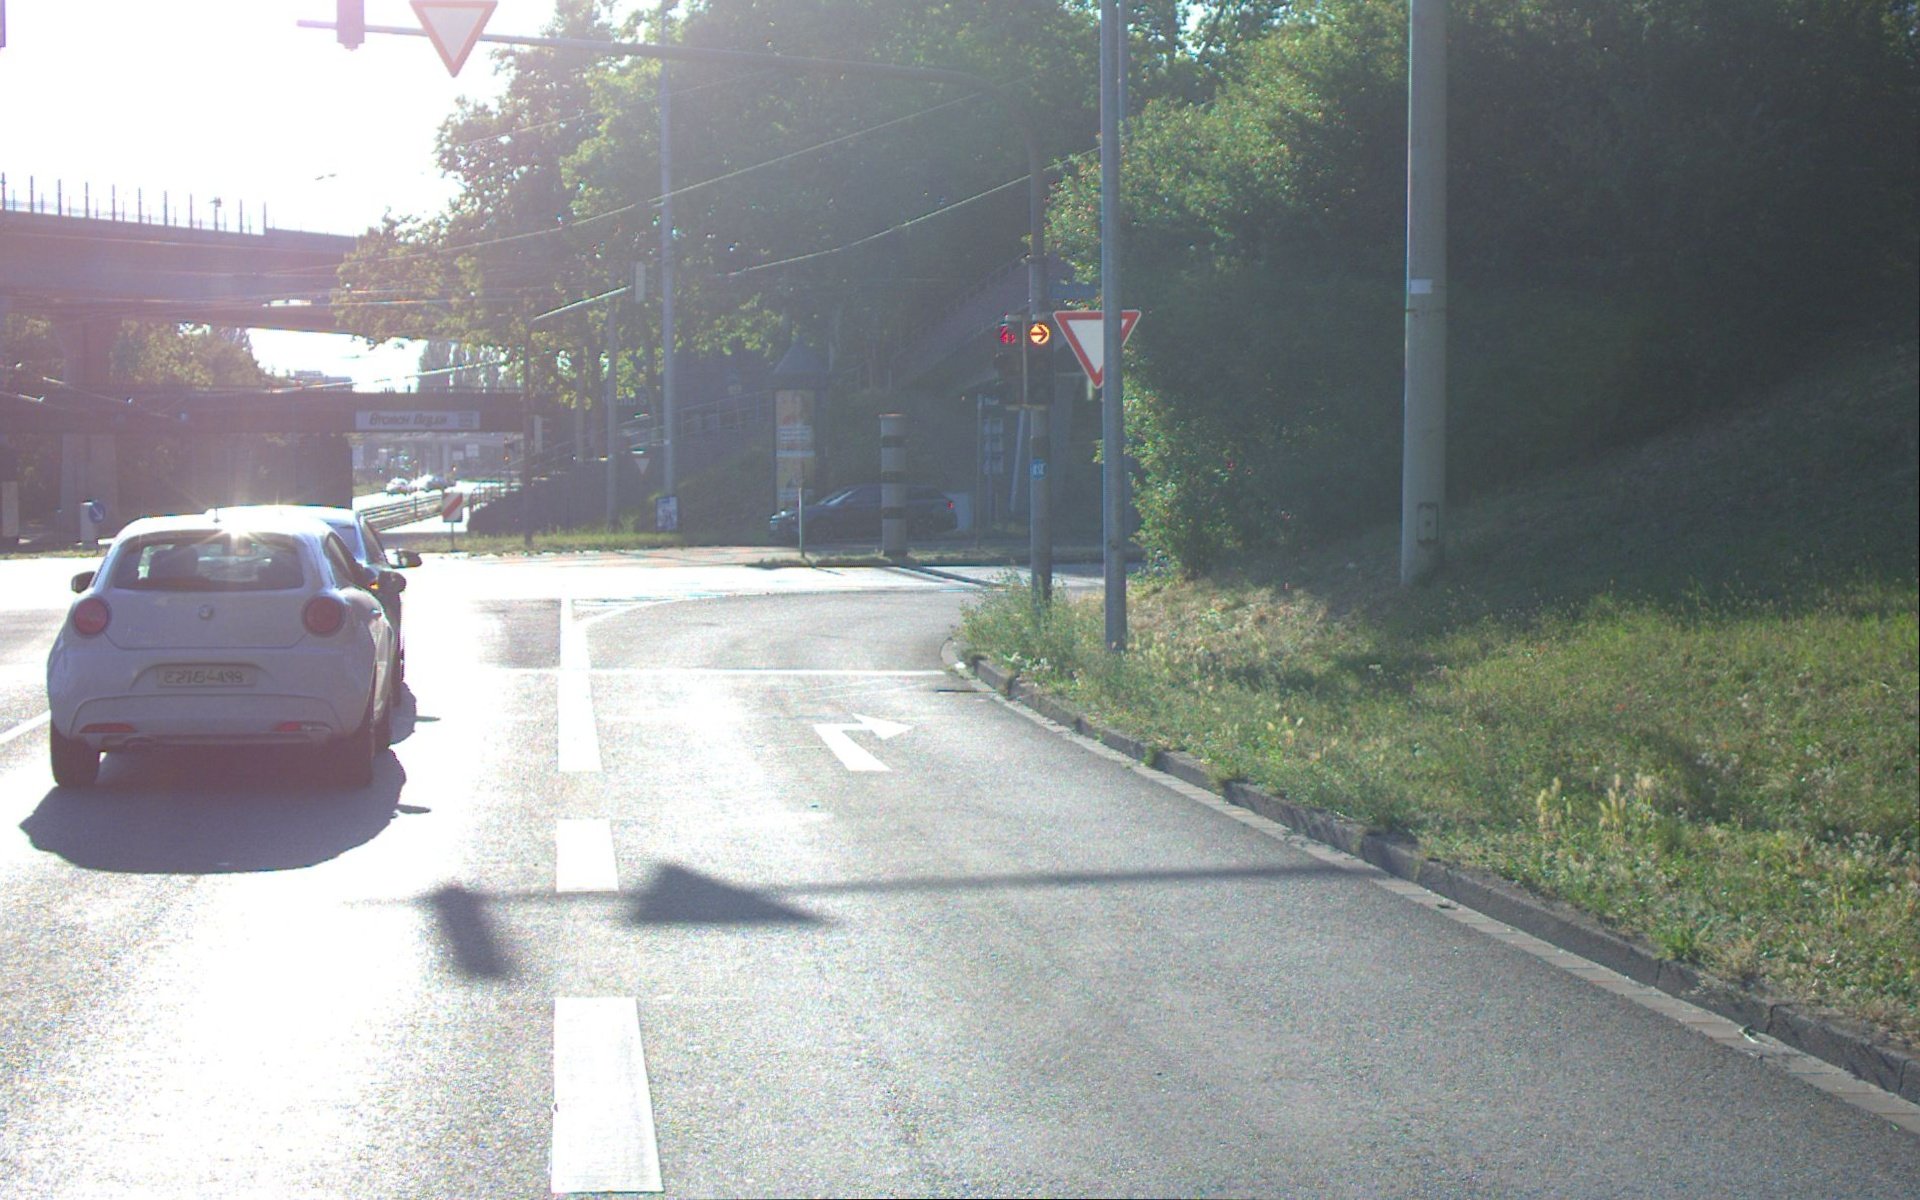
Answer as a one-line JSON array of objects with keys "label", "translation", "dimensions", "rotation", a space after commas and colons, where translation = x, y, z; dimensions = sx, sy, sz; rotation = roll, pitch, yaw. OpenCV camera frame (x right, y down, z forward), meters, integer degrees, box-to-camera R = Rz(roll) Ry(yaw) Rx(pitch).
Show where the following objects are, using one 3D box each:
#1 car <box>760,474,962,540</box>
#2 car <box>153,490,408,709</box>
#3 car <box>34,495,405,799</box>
[{"label": "car", "translation": [-2.396, -2.245, 83.027], "dimensions": [4.575, 1.569, 1.694], "rotation": [-1, 2, -23]}, {"label": "car", "translation": [-5.059, -0.073, 26.005], "dimensions": [1.713, 1.460, 4.209], "rotation": [-1, 2, -9]}, {"label": "car", "translation": [-4.145, 0.178, 19.775], "dimensions": [1.736, 1.500, 4.001], "rotation": [-1, 2, -7]}]
